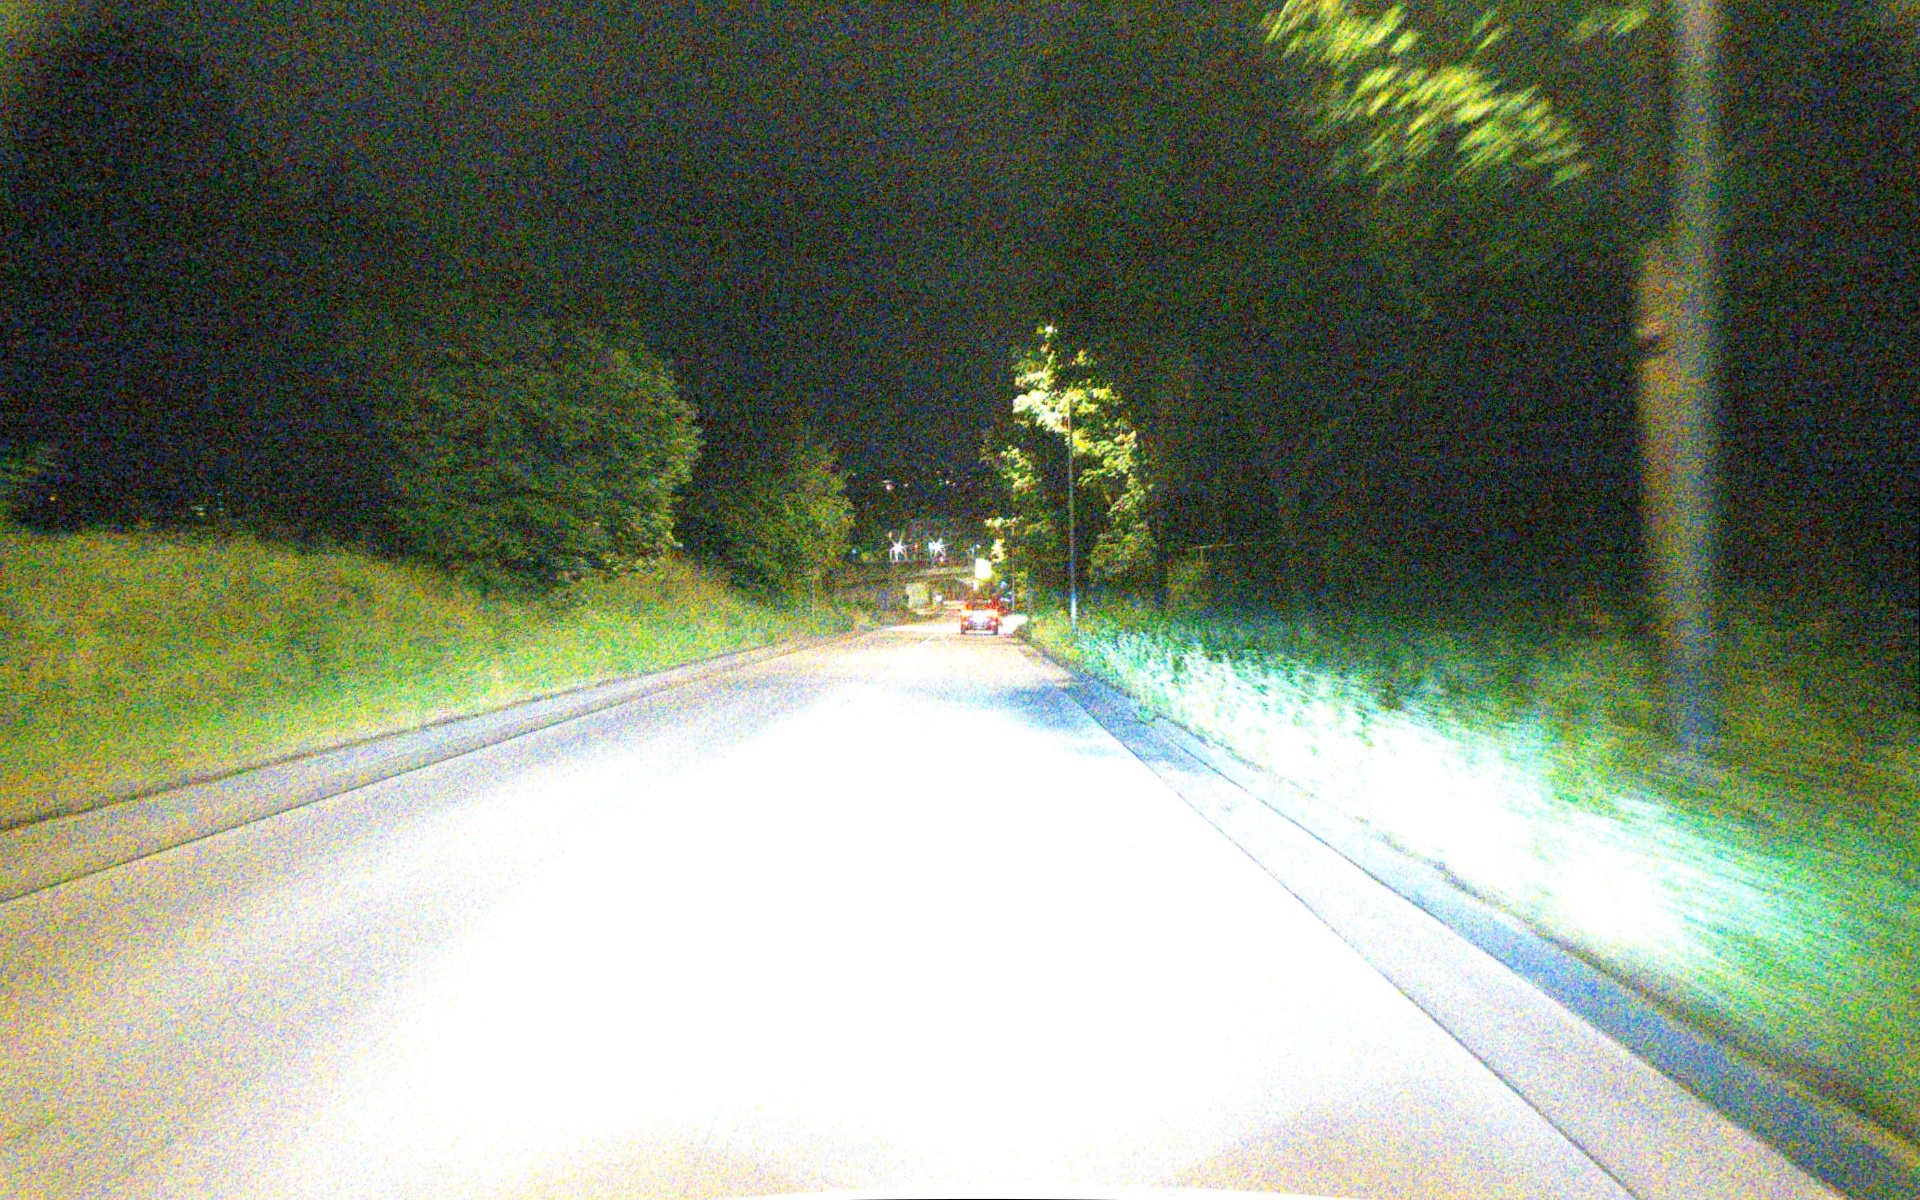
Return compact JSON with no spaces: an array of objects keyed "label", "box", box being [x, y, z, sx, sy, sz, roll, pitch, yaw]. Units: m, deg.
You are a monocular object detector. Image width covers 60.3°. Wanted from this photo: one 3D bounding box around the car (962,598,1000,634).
[{"label":"car","box":[1.006,0.736,78.080,1.726,1.670,3.724,0,0,2]}]
